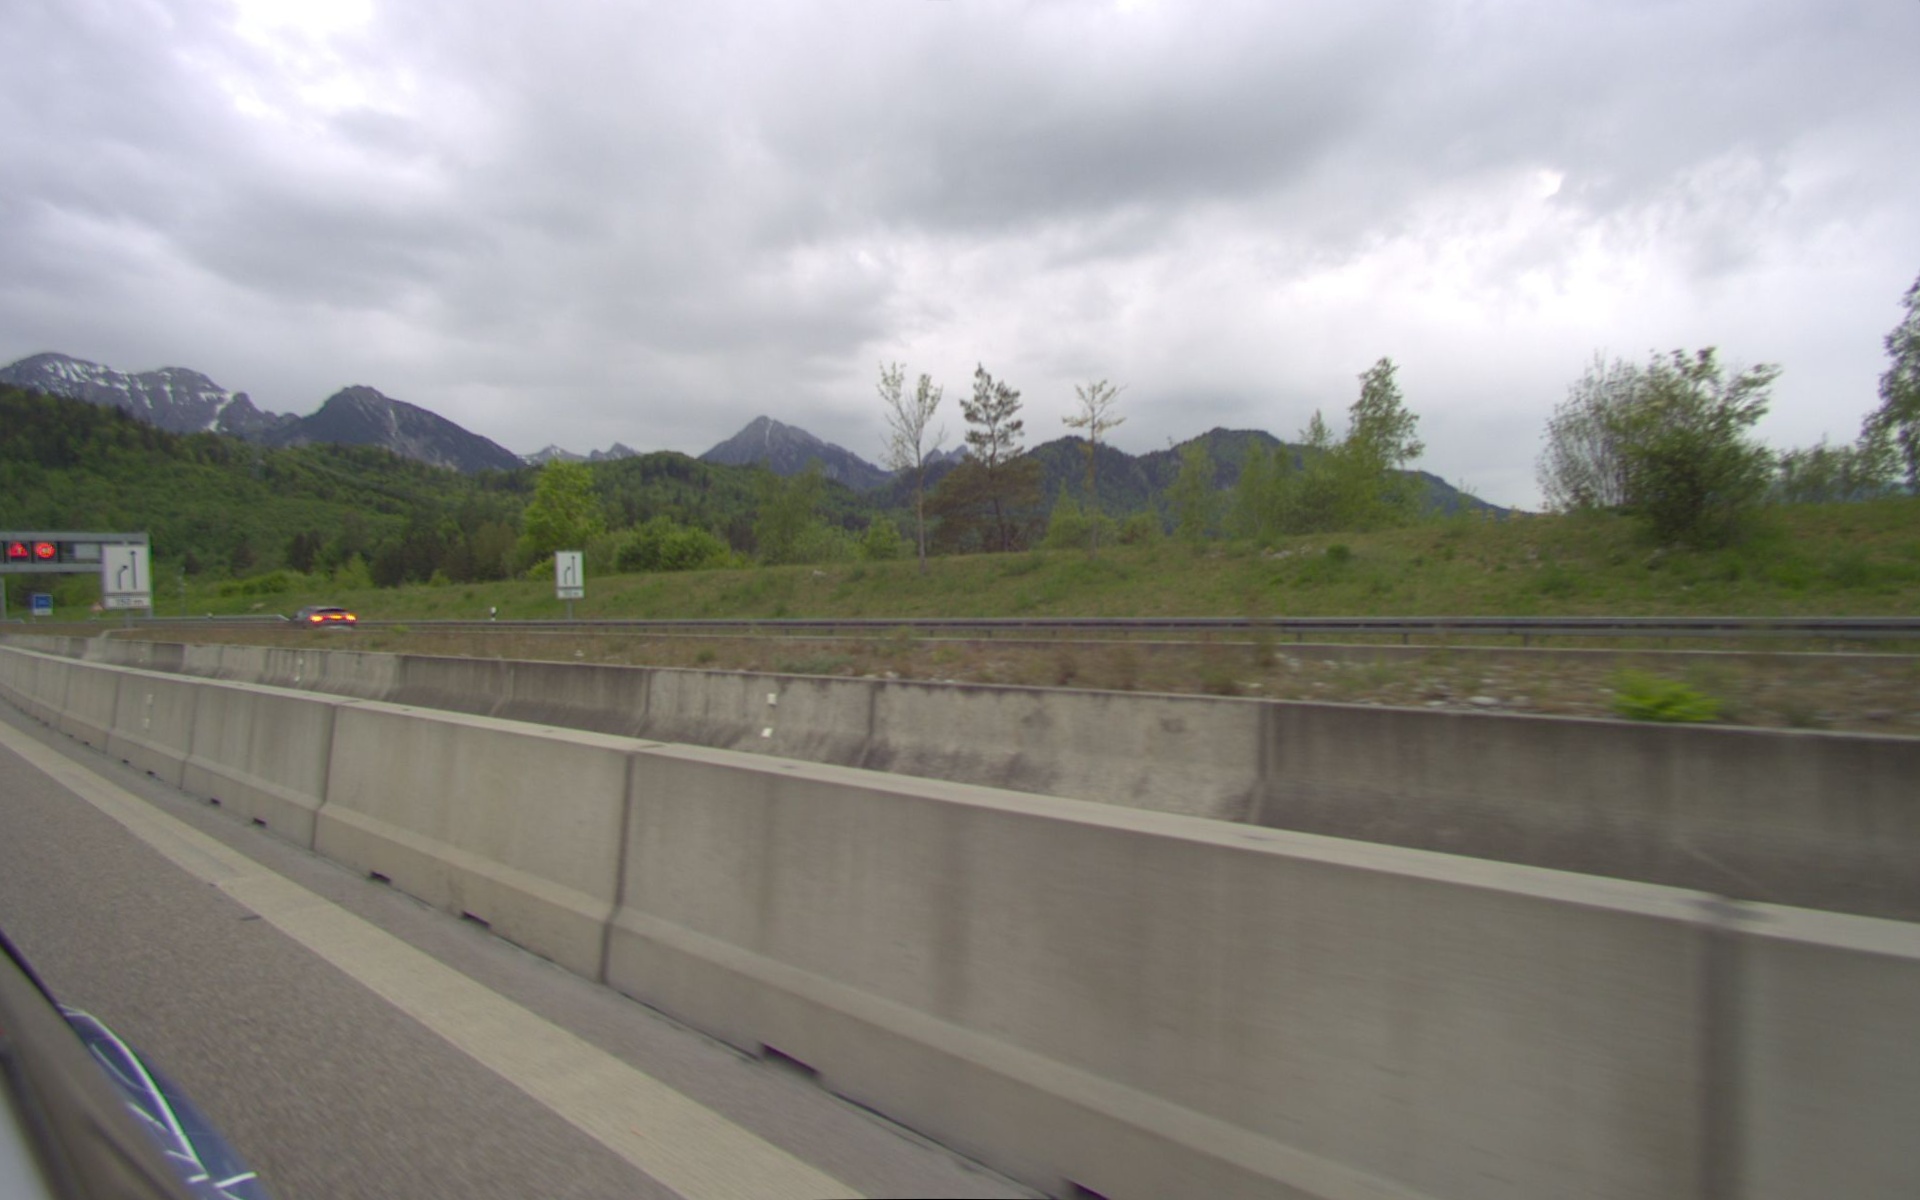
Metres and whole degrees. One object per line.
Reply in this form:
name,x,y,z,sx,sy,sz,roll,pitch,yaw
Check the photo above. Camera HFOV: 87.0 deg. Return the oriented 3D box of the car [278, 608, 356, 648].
car,-27.198,1.165,42.755,4.175,1.586,1.684,-1,0,42
